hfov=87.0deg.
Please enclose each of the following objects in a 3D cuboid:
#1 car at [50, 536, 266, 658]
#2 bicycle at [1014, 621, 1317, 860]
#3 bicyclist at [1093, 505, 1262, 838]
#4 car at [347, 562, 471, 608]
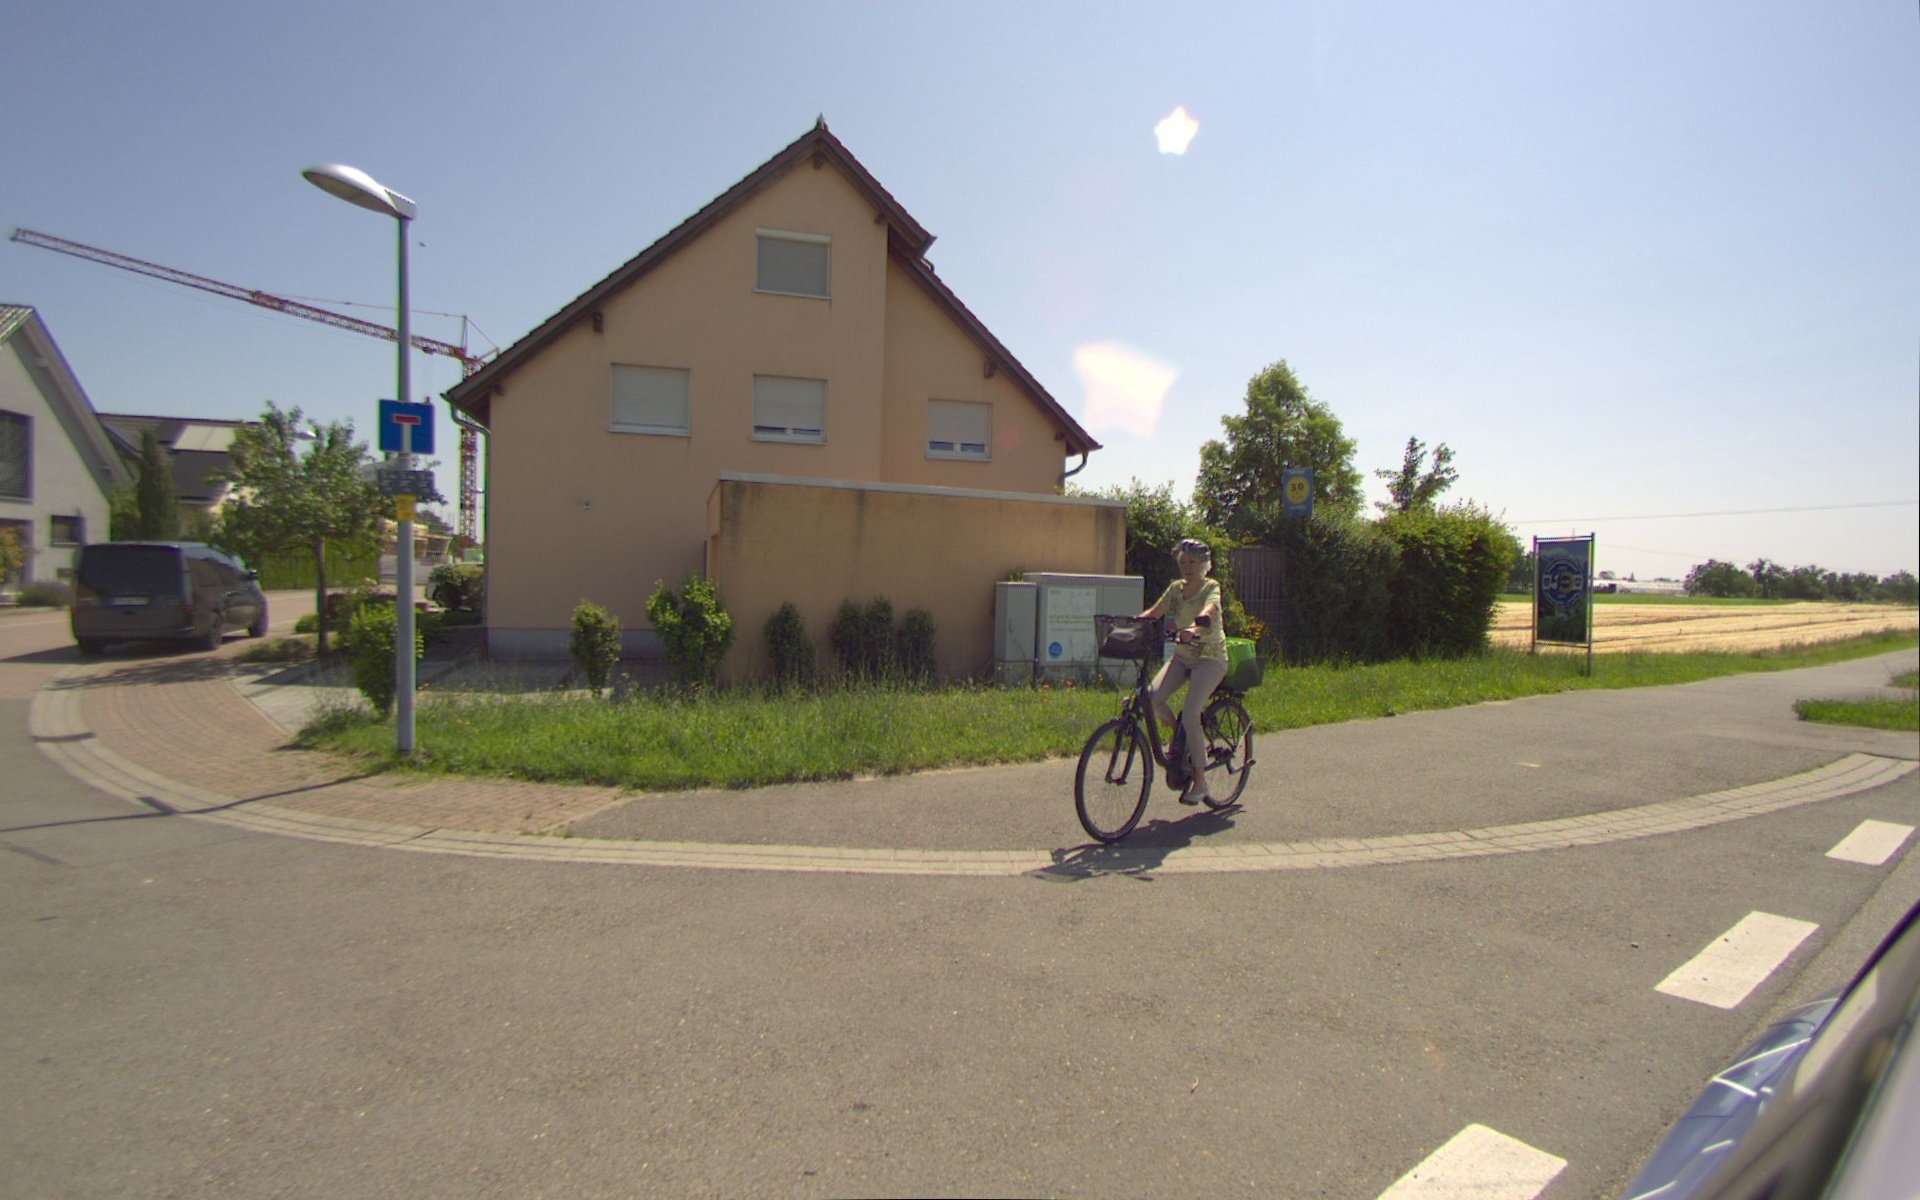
[{"bbox_3d":[-15.054,-0.171,19.330,1.958,2.038,4.504,-1,3,-22],"label":"car"},{"bbox_3d":[1.359,0.768,6.335,2.234,1.173,0.611,-1,2,-41],"label":"bicycle"},{"bbox_3d":[1.362,0.398,6.333,0.846,1.913,0.646,-1,1,-41],"label":"bicyclist"},{"bbox_3d":[-19.015,-0.527,35.068,3.484,1.496,1.758,1,2,-16],"label":"car"}]
